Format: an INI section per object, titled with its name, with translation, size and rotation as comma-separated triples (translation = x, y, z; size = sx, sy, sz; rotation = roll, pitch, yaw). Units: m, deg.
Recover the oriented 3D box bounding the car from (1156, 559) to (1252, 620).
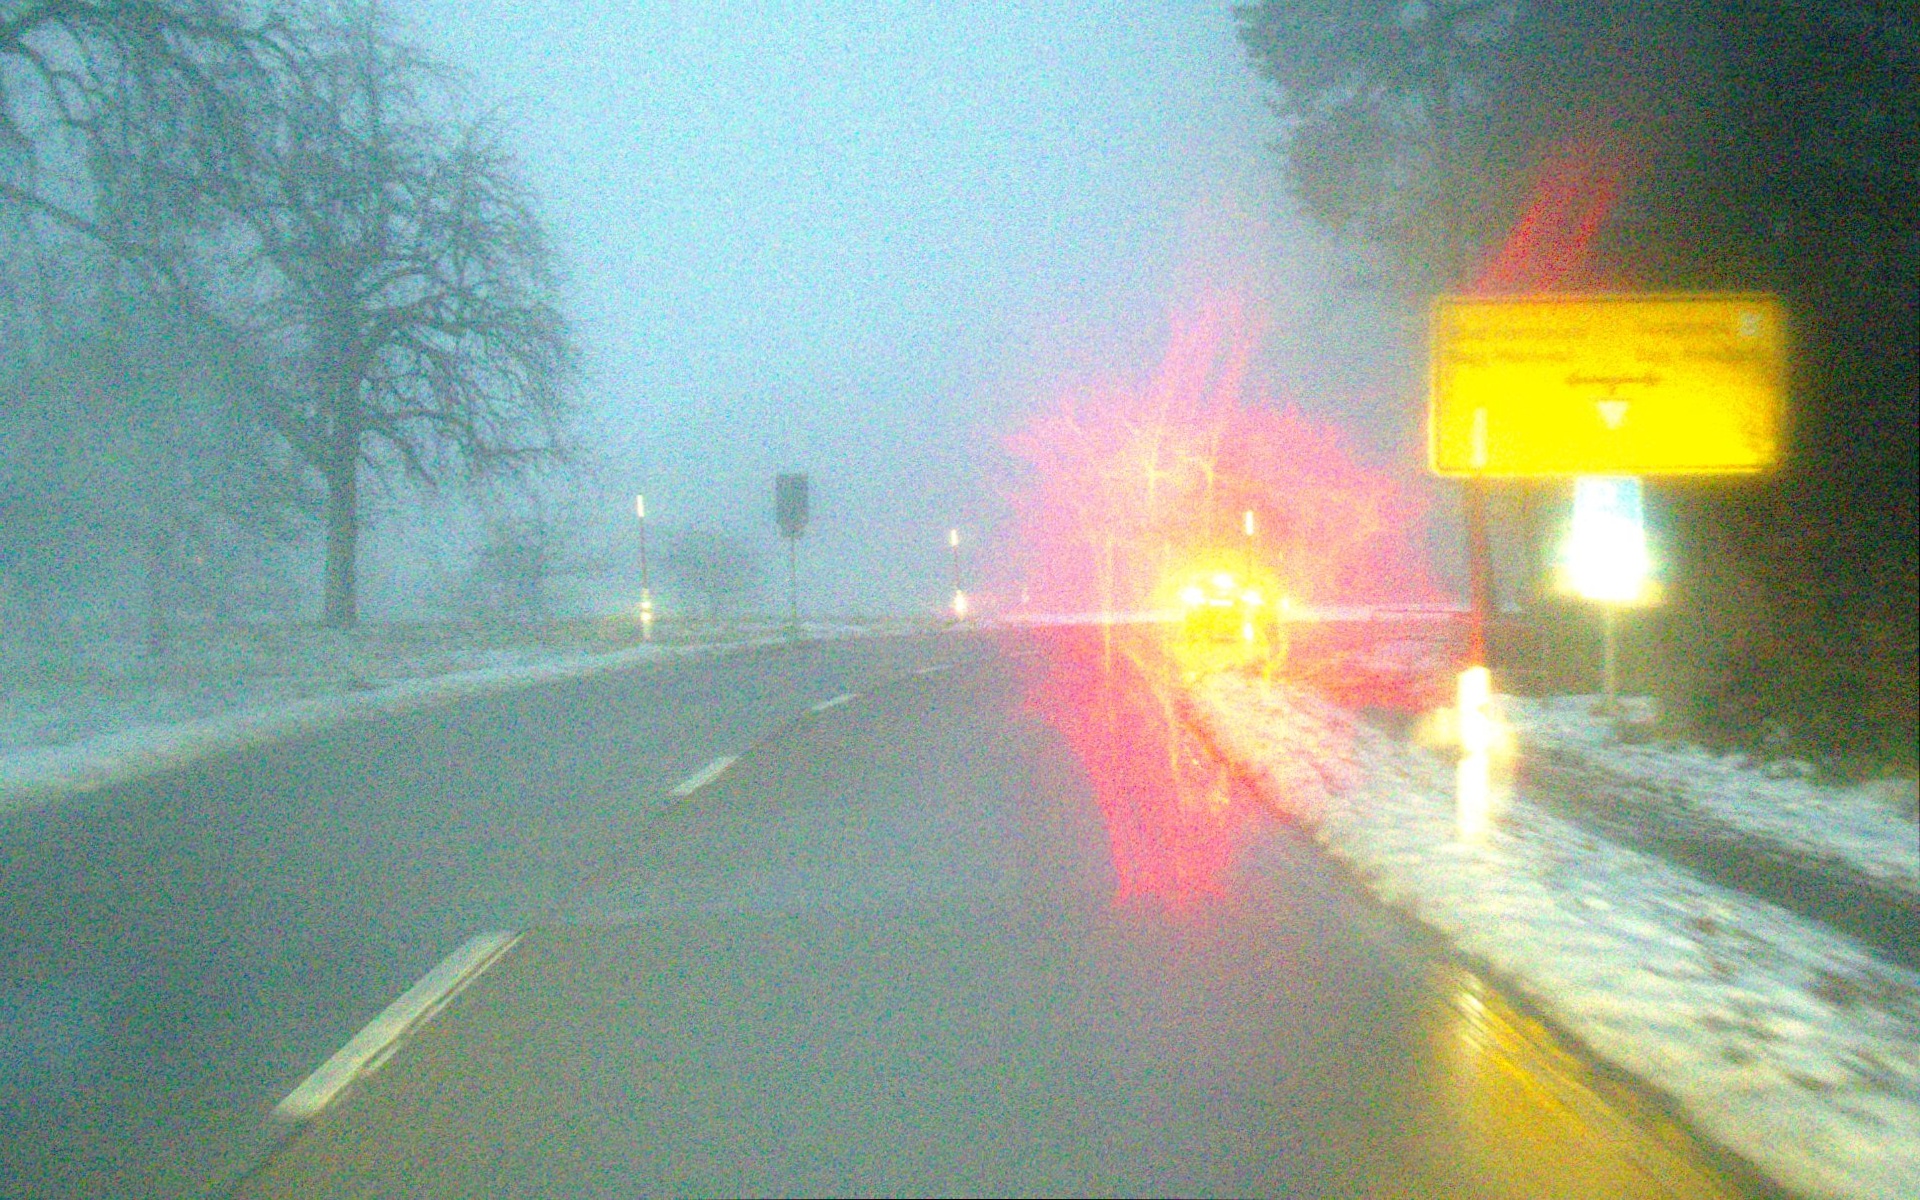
[car]
translation = 5.542, -0.254, 77.711
size = 1.922, 1.272, 3.999
rotation = 0, 2, 7
